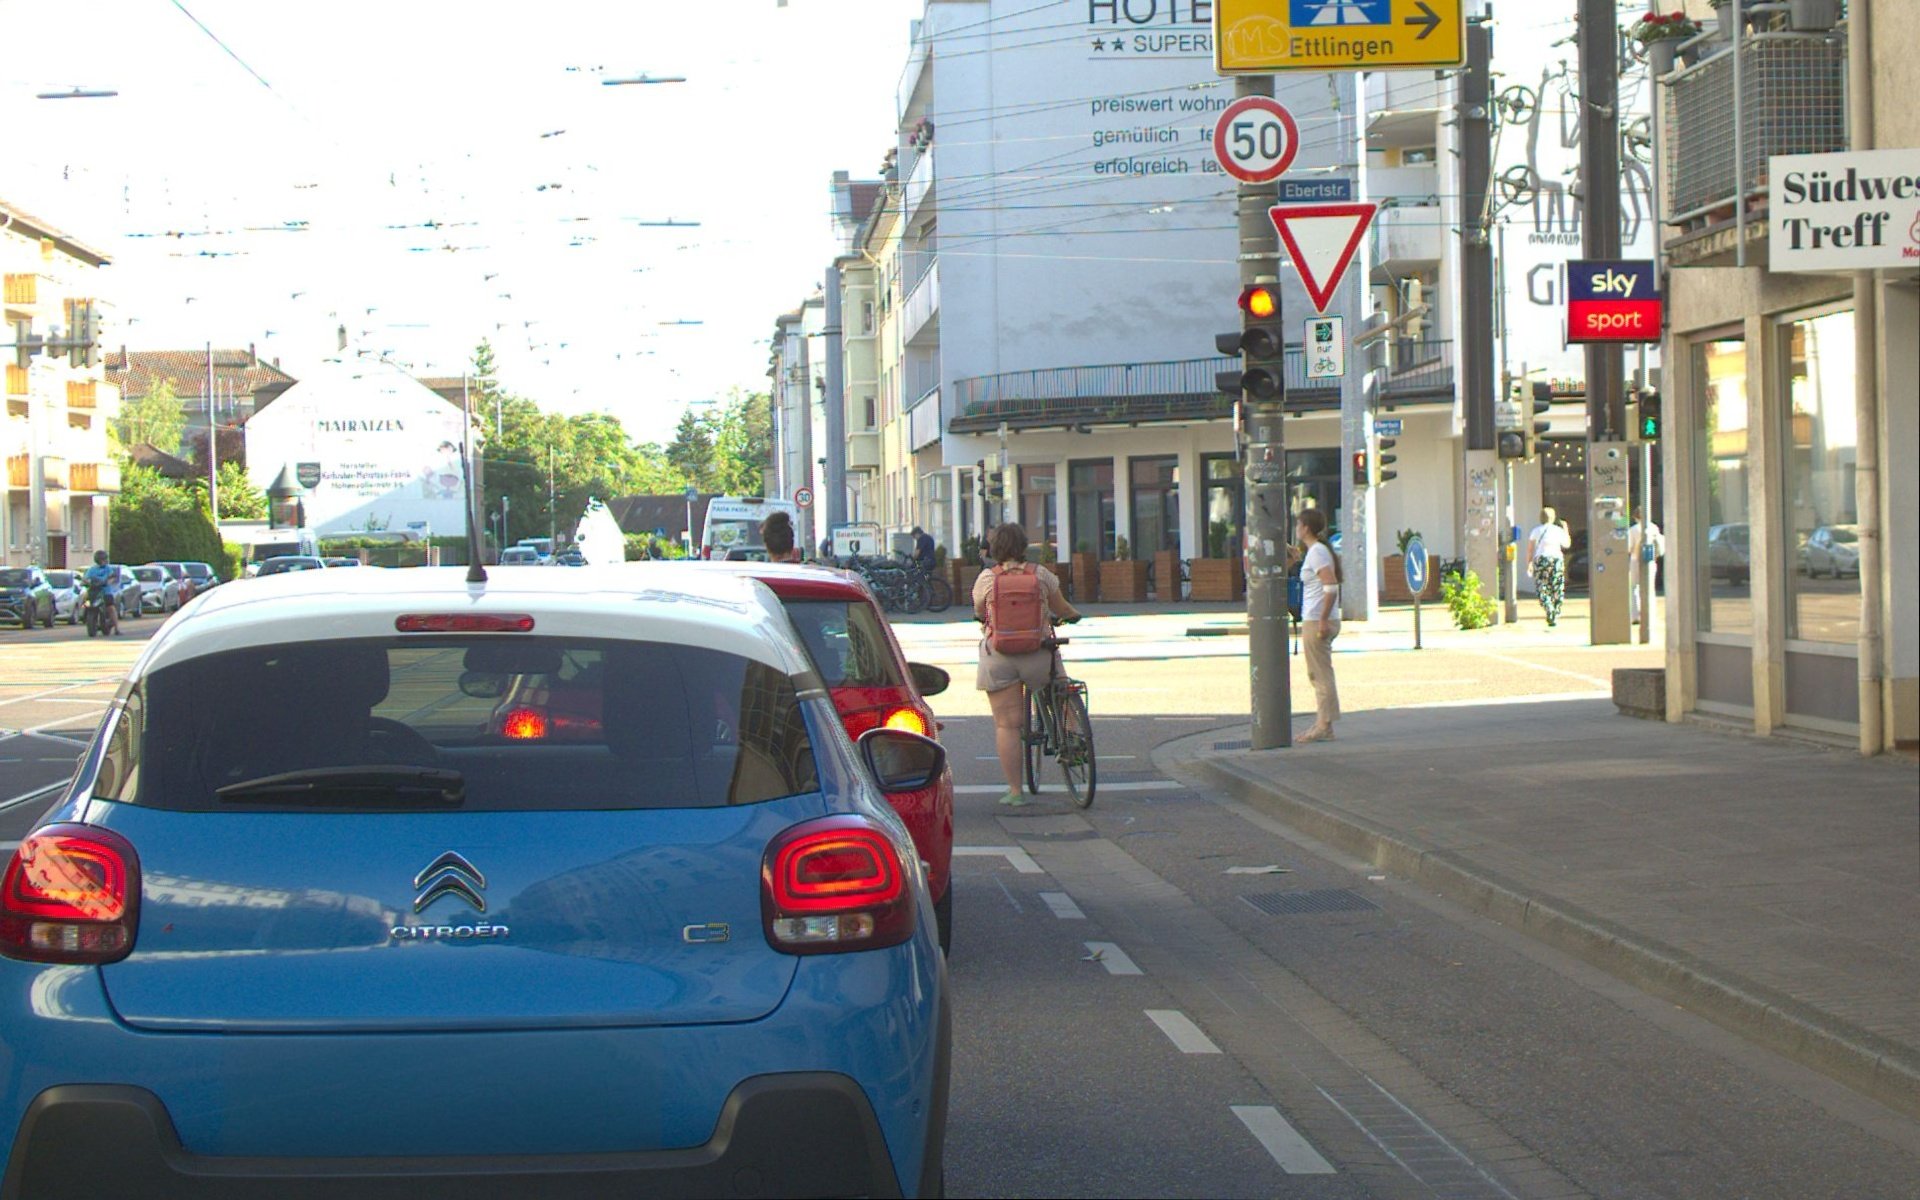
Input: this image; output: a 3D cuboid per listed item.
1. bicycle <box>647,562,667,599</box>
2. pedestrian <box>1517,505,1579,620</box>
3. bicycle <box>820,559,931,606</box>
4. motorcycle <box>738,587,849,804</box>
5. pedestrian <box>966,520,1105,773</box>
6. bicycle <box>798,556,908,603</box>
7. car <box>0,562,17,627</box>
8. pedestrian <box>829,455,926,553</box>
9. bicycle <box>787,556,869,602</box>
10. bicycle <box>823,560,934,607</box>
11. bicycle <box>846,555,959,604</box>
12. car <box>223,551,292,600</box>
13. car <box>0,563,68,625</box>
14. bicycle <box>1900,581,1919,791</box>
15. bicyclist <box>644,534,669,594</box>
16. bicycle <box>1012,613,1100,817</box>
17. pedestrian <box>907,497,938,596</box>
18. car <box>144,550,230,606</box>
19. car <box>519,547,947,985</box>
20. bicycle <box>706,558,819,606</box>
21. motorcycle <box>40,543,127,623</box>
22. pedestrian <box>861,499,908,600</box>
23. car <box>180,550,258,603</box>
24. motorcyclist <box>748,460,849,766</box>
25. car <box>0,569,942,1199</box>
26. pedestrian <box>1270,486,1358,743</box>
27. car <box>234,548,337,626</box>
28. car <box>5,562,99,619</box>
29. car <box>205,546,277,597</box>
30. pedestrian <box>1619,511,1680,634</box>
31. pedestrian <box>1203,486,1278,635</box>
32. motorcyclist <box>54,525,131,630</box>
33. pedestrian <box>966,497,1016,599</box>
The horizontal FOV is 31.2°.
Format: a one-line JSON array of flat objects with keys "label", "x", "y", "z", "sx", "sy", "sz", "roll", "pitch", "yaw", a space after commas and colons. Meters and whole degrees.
[{"label": "bicycle", "x": -7.456, "y": -0.478, "z": 84.472, "sx": 0.349, "sy": 0.900, "sz": 1.860, "roll": 1, "pitch": 1, "yaw": -9}, {"label": "pedestrian", "x": 8.238, "y": -0.528, "z": 48.187, "sx": 0.736, "sy": 1.595, "sz": 0.749, "roll": 1, "pitch": 0, "yaw": 2}, {"label": "bicycle", "x": -1.660, "y": -0.343, "z": 67.674, "sx": 2.132, "sy": 0.898, "sz": 0.367, "roll": 1, "pitch": 0, "yaw": -9}, {"label": "motorcycle", "x": -0.925, "y": 0.505, "z": 19.455, "sx": 0.526, "sy": 1.136, "sz": 2.290, "roll": 1, "pitch": 1, "yaw": -1}, {"label": "pedestrian", "x": 0.437, "y": 0.264, "z": 20.241, "sx": 0.777, "sy": 1.455, "sz": 0.682, "roll": 1, "pitch": 0, "yaw": -1}, {"label": "bicycle", "x": -2.128, "y": -0.404, "z": 68.325, "sx": 2.132, "sy": 0.898, "sz": 0.367, "roll": 1, "pitch": 0, "yaw": -9}, {"label": "car", "x": -23.225, "y": -0.129, "z": 79.482, "sx": 1.787, "sy": 1.506, "sz": 4.150, "roll": 1, "pitch": 1, "yaw": -2}, {"label": "pedestrian", "x": -1.749, "y": -2.031, "z": 73.549, "sx": 1.993, "sy": 2.007, "sz": 4.000, "roll": 1, "pitch": 1, "yaw": -1}, {"label": "bicycle", "x": -2.664, "y": -0.433, "z": 69.347, "sx": 1.785, "sy": 0.898, "sz": 0.366, "roll": 1, "pitch": 1, "yaw": 34}, {"label": "bicycle", "x": -1.595, "y": -0.325, "z": 67.266, "sx": 2.132, "sy": 0.898, "sz": 0.367, "roll": 1, "pitch": 0, "yaw": -9}, {"label": "bicycle", "x": -1.107, "y": -0.390, "z": 65.931, "sx": 2.132, "sy": 0.898, "sz": 0.367, "roll": 1, "pitch": 0, "yaw": -9}, {"label": "car", "x": -24.766, "y": -0.884, "z": 121.354, "sx": 1.846, "sy": 1.681, "sz": 3.875, "roll": 1, "pitch": 1, "yaw": -4}, {"label": "car", "x": -23.640, "y": -0.157, "z": 86.088, "sx": 1.785, "sy": 1.493, "sz": 4.001, "roll": 1, "pitch": 1, "yaw": -4}, {"label": "bicycle", "x": 4.845, "y": 0.419, "z": 15.820, "sx": 0.542, "sy": 0.995, "sz": 1.706, "roll": 1, "pitch": 1, "yaw": -1}, {"label": "bicyclist", "x": -7.450, "y": -0.889, "z": 84.366, "sx": 0.561, "sy": 1.472, "sz": 0.748, "roll": 1, "pitch": 0, "yaw": -9}, {"label": "bicycle", "x": 0.559, "y": 0.657, "z": 20.494, "sx": 0.427, "sy": 1.119, "sz": 1.998, "roll": 1, "pitch": 1, "yaw": -1}, {"label": "pedestrian", "x": -0.769, "y": -1.082, "z": 70.237, "sx": 0.577, "sy": 2.007, "sz": 0.626, "roll": 1, "pitch": 0, "yaw": -3}, {"label": "car", "x": -23.880, "y": -0.687, "z": 106.320, "sx": 1.983, "sy": 1.681, "sz": 4.001, "roll": 1, "pitch": 1, "yaw": -3}, {"label": "car", "x": -0.789, "y": 0.554, "z": 13.181, "sx": 1.424, "sy": 1.462, "sz": 2.924, "roll": -1, "pitch": 0, "yaw": -1}, {"label": "bicycle", "x": -3.808, "y": -0.345, "z": 66.233, "sx": 2.132, "sy": 0.898, "sz": 0.367, "roll": 1, "pitch": 0, "yaw": -9}, {"label": "motorcycle", "x": -16.932, "y": -0.341, "z": 66.488, "sx": 0.923, "sy": 1.481, "sz": 3.726, "roll": 1, "pitch": 1, "yaw": -3}, {"label": "pedestrian", "x": -1.517, "y": -1.010, "z": 69.183, "sx": 0.630, "sy": 2.007, "sz": 0.724, "roll": 1, "pitch": 0, "yaw": -36}, {"label": "car", "x": -23.999, "y": -0.774, "z": 111.398, "sx": 1.882, "sy": 1.681, "sz": 4.001, "roll": 1, "pitch": 1, "yaw": -4}, {"label": "motorcyclist", "x": -0.917, "y": 0.070, "z": 19.638, "sx": 0.526, "sy": 1.710, "sz": 0.717, "roll": 1, "pitch": 0, "yaw": -1}, {"label": "car", "x": -0.885, "y": 0.668, "z": 7.185, "sx": 1.654, "sy": 1.439, "sz": 3.523, "roll": 1, "pitch": 1, "yaw": -1}, {"label": "pedestrian", "x": 2.490, "y": 0.098, "z": 24.227, "sx": 0.517, "sy": 1.777, "sz": 0.595, "roll": 1, "pitch": 0, "yaw": -2}, {"label": "car", "x": -14.948, "y": -0.300, "z": 76.378, "sx": 1.774, "sy": 1.660, "sz": 3.857, "roll": 1, "pitch": 1, "yaw": -4}, {"label": "car", "x": -24.284, "y": -0.270, "z": 92.070, "sx": 1.732, "sy": 1.493, "sz": 4.001, "roll": 1, "pitch": 1, "yaw": -5}, {"label": "car", "x": -24.408, "y": -0.987, "z": 116.750, "sx": 1.833, "sy": 1.681, "sz": 4.001, "roll": 1, "pitch": 1, "yaw": -4}, {"label": "pedestrian", "x": 9.417, "y": -0.377, "z": 46.977, "sx": 0.752, "sy": 1.652, "sz": 0.883, "roll": 1, "pitch": 0, "yaw": 9}, {"label": "pedestrian", "x": 3.829, "y": -0.544, "z": 46.983, "sx": 0.926, "sy": 2.007, "sz": 0.759, "roll": 1, "pitch": 0, "yaw": -1}, {"label": "motorcyclist", "x": -16.928, "y": -0.449, "z": 67.094, "sx": 1.185, "sy": 2.007, "sz": 1.276, "roll": -1, "pitch": 1, "yaw": -3}, {"label": "pedestrian", "x": 0.617, "y": -1.040, "z": 68.765, "sx": 0.709, "sy": 2.007, "sz": 0.760, "roll": 1, "pitch": 0, "yaw": -25}]
